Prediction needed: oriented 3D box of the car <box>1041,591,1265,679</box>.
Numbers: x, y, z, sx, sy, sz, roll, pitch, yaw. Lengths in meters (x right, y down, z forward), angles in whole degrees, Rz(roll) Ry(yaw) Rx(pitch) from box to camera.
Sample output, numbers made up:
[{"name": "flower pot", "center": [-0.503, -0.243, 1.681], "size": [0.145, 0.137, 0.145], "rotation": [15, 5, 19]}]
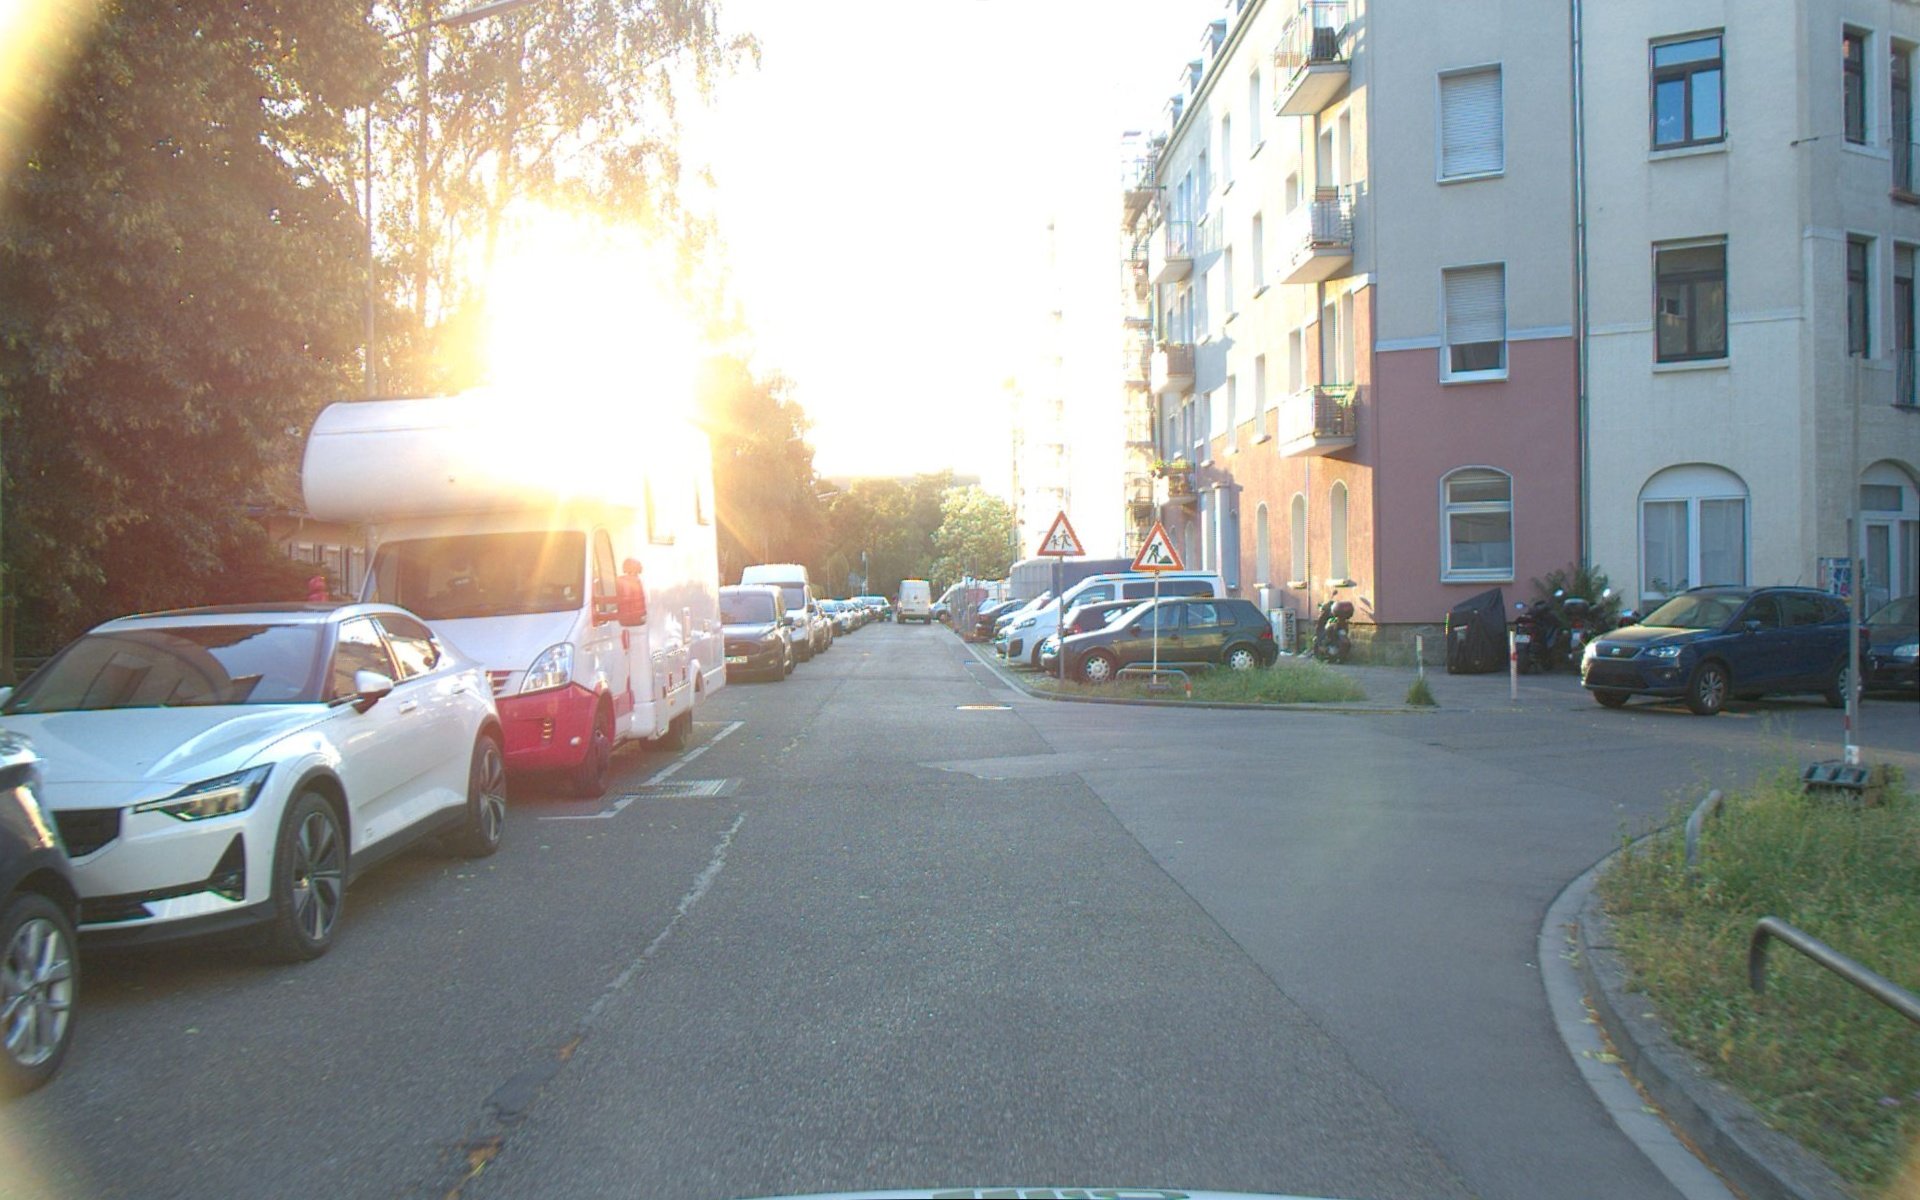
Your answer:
[{"name": "car", "center": [3.587, 0.628, 31.202], "size": [3.908, 1.557, 1.998], "rotation": [-1, 0, -4]}]

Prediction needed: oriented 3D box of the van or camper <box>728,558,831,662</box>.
[{"name": "van or camper", "center": [-4.631, 0.232, 43.195], "size": [1.952, 2.500, 6.083], "rotation": [-1, 0, 0]}]

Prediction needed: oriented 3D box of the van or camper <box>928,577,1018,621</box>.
[{"name": "van or camper", "center": [0.838, -0.058, 109.944], "size": [5.810, 2.818, 2.108], "rotation": [1, 0, -3]}]

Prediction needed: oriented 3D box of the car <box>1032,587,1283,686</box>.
[{"name": "car", "center": [3.355, 0.607, 28.581], "size": [4.022, 1.613, 1.853], "rotation": [-1, 0, -5]}]

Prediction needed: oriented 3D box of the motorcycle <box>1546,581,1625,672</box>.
[{"name": "motorcycle", "center": [10.465, 0.413, 27.601], "size": [0.729, 1.459, 2.646], "rotation": [-1, 0, 32]}]

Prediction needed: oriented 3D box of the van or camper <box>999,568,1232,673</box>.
[{"name": "van or camper", "center": [3.280, 0.429, 35.534], "size": [4.737, 2.133, 2.039], "rotation": [-1, 0, -3]}]

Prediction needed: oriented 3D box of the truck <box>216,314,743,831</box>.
[{"name": "truck", "center": [-3.825, -0.196, 15.381], "size": [2.474, 3.412, 8.016], "rotation": [-3, 0, -1]}]

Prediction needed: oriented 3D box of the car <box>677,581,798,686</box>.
[{"name": "car", "center": [-4.215, 0.594, 32.059], "size": [1.872, 1.819, 4.946], "rotation": [-2, 0, -3]}]

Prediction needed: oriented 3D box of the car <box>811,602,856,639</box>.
[{"name": "car", "center": [-5.526, 0.881, 72.656], "size": [1.747, 1.471, 4.746], "rotation": [-3, 0, -2]}]

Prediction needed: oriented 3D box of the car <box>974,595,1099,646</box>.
[{"name": "car", "center": [2.536, 0.669, 55.502], "size": [4.068, 1.644, 1.871], "rotation": [-1, 0, -1]}]

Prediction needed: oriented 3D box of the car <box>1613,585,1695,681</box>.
[{"name": "car", "center": [11.324, 0.506, 26.937], "size": [0.828, 1.482, 2.771], "rotation": [-1, 0, 31]}]

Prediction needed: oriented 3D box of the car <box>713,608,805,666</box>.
[{"name": "car", "center": [-4.530, 0.804, 37.394], "size": [1.956, 1.210, 4.030], "rotation": [0, 0, -7]}]

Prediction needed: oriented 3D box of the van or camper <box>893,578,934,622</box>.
[{"name": "van or camper", "center": [-2.865, -0.015, 102.833], "size": [2.404, 2.591, 6.081], "rotation": [1, 0, -2]}]

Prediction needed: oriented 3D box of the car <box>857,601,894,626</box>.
[{"name": "car", "center": [-5.530, 0.873, 108.693], "size": [1.766, 1.597, 4.568], "rotation": [-1, 0, 5]}]

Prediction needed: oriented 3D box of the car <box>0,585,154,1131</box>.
[{"name": "car", "center": [-3.581, 0.774, 3.642], "size": [1.754, 1.560, 4.065], "rotation": [-2, 0, -3]}]

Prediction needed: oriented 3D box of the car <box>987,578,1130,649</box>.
[{"name": "car", "center": [3.120, 0.403, 52.821], "size": [4.188, 2.014, 1.818], "rotation": [-3, 1, -10]}]

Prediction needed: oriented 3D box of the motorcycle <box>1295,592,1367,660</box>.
[{"name": "motorcycle", "center": [7.208, 0.489, 32.265], "size": [0.727, 1.257, 2.652], "rotation": [-1, 0, -2]}]

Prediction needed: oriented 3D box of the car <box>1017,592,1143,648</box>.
[{"name": "car", "center": [3.634, 0.594, 50.401], "size": [3.619, 1.638, 1.744], "rotation": [-1, 0, -4]}]

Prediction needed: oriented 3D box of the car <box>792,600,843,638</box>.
[{"name": "car", "center": [-5.747, 0.741, 66.824], "size": [1.954, 1.478, 3.996], "rotation": [0, 0, -5]}]

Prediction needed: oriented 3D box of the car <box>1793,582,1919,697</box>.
[{"name": "car", "center": [14.032, 0.509, 23.724], "size": [3.947, 1.532, 1.950], "rotation": [-1, 0, -31]}]

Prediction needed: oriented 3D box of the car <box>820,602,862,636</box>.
[{"name": "car", "center": [-5.814, 0.929, 81.274], "size": [1.822, 1.565, 4.756], "rotation": [-2, 0, -2]}]

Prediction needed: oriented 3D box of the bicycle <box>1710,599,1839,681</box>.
[{"name": "bicycle", "center": [13.293, 0.650, 27.042], "size": [1.860, 1.304, 0.685], "rotation": [0, 0, 24]}]

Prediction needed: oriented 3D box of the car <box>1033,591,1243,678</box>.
[{"name": "car", "center": [3.529, 0.679, 33.244], "size": [3.908, 1.646, 1.998], "rotation": [-1, 0, -4]}]

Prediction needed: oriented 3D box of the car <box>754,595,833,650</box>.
[{"name": "car", "center": [-4.868, 0.634, 48.875], "size": [1.953, 1.545, 4.787], "rotation": [0, 0, -1]}]

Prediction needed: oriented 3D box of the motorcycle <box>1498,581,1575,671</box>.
[{"name": "motorcycle", "center": [9.801, 0.412, 28.073], "size": [0.729, 1.459, 2.347], "rotation": [-1, 0, 32]}]

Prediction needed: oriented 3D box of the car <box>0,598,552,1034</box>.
[{"name": "car", "center": [-3.604, 0.801, 8.397], "size": [1.868, 1.502, 4.908], "rotation": [-3, 0, -1]}]

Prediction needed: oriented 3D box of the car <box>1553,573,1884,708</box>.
[{"name": "car", "center": [9.833, 0.475, 21.438], "size": [3.936, 1.600, 1.815], "rotation": [-1, 0, -25]}]

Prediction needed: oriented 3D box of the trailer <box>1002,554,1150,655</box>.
[{"name": "trailer", "center": [2.984, 0.115, 43.035], "size": [3.498, 2.377, 1.939], "rotation": [-3, 0, -5]}]

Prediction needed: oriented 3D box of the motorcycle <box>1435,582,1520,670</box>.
[{"name": "motorcycle", "center": [8.905, 0.423, 28.410], "size": [0.821, 1.459, 2.347], "rotation": [-1, 0, 32]}]

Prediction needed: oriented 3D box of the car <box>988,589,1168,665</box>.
[{"name": "car", "center": [2.685, 0.614, 38.245], "size": [3.908, 1.669, 1.998], "rotation": [-1, -1, -4]}]
